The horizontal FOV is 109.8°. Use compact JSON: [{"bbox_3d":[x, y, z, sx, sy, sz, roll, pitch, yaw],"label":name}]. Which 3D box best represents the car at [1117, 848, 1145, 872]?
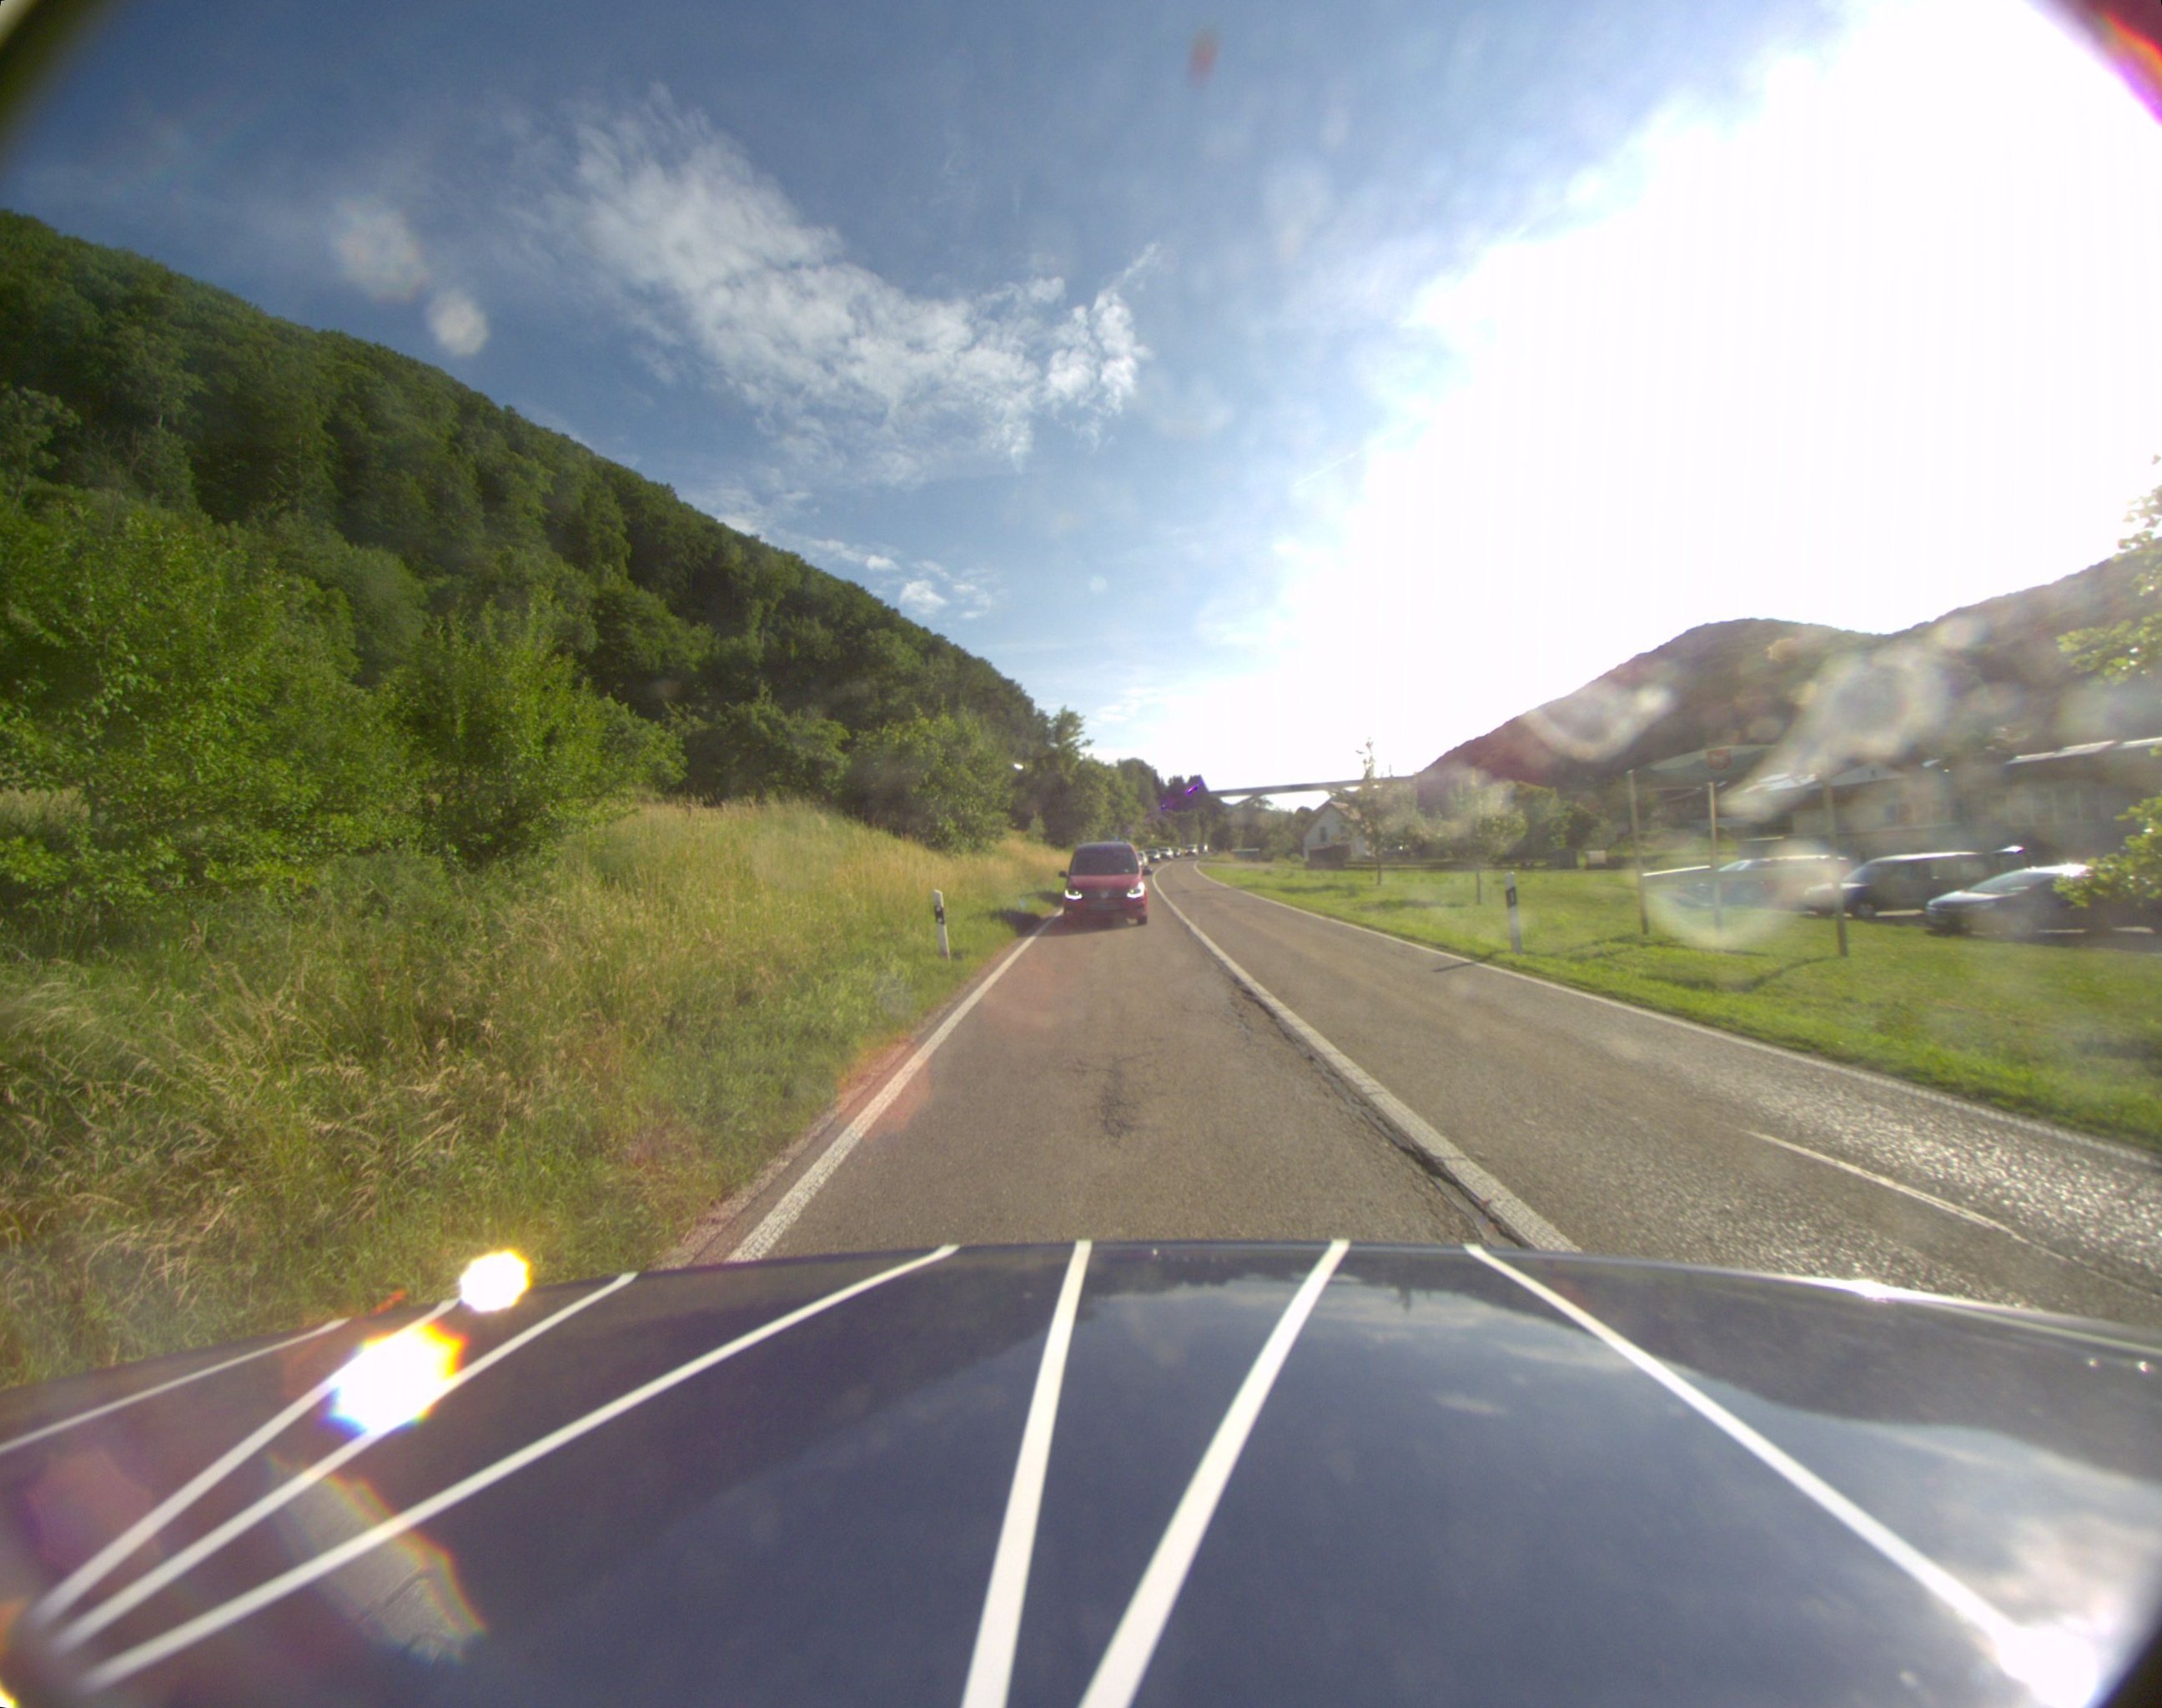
[{"bbox_3d":[3.540,0.375,53.111,1.629,1.470,3.681,-2,1,8],"label":"car"}]

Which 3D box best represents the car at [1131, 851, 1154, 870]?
[{"bbox_3d":[5.231,0.532,64.575,1.629,1.470,3.681,-2,1,8],"label":"car"}]

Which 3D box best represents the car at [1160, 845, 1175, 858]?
[{"bbox_3d":[10.716,-0.305,94.448,1.629,1.470,3.680,-2,1,5],"label":"car"}]

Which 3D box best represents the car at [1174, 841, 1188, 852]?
[{"bbox_3d":[14.448,-1.059,109.875,1.628,1.470,3.682,-2,1,12],"label":"car"}]

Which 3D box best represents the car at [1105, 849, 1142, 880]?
[{"bbox_3d":[2.351,0.537,41.357,1.629,1.470,3.681,-2,1,8],"label":"car"}]

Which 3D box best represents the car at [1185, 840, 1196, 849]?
[{"bbox_3d":[18.207,-1.568,126.607,1.629,1.470,3.681,-2,1,8],"label":"car"}]

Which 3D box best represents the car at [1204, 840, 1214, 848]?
[{"bbox_3d":[25.526,-2.054,151.456,1.628,1.470,3.682,-2,1,12],"label":"car"}]

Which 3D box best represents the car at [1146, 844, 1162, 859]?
[{"bbox_3d":[7.771,-0.290,80.780,1.629,1.470,3.680,-2,1,5],"label":"car"}]

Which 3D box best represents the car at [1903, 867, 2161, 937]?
[{"bbox_3d":[22.302,1.089,17.712,4.014,1.443,1.686,-2,-1,11],"label":"car"}]

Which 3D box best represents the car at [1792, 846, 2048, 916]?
[{"bbox_3d":[24.323,0.773,22.225,5.000,1.783,1.685,-2,1,11],"label":"car"}]

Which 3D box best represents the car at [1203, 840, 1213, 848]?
[{"bbox_3d":[23.279,-1.848,139.336,1.628,1.470,3.682,-2,1,12],"label":"car"}]

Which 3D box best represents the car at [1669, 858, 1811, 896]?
[{"bbox_3d":[26.445,0.934,30.628,3.892,1.361,1.854,-1,2,14],"label":"car"}]

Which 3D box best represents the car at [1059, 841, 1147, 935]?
[{"bbox_3d":[0.592,0.634,16.750,1.648,1.762,4.000,-2,1,5],"label":"car"}]

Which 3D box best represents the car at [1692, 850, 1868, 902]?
[{"bbox_3d":[25.264,0.801,27.652,4.327,1.660,1.850,-2,1,17],"label":"car"}]
